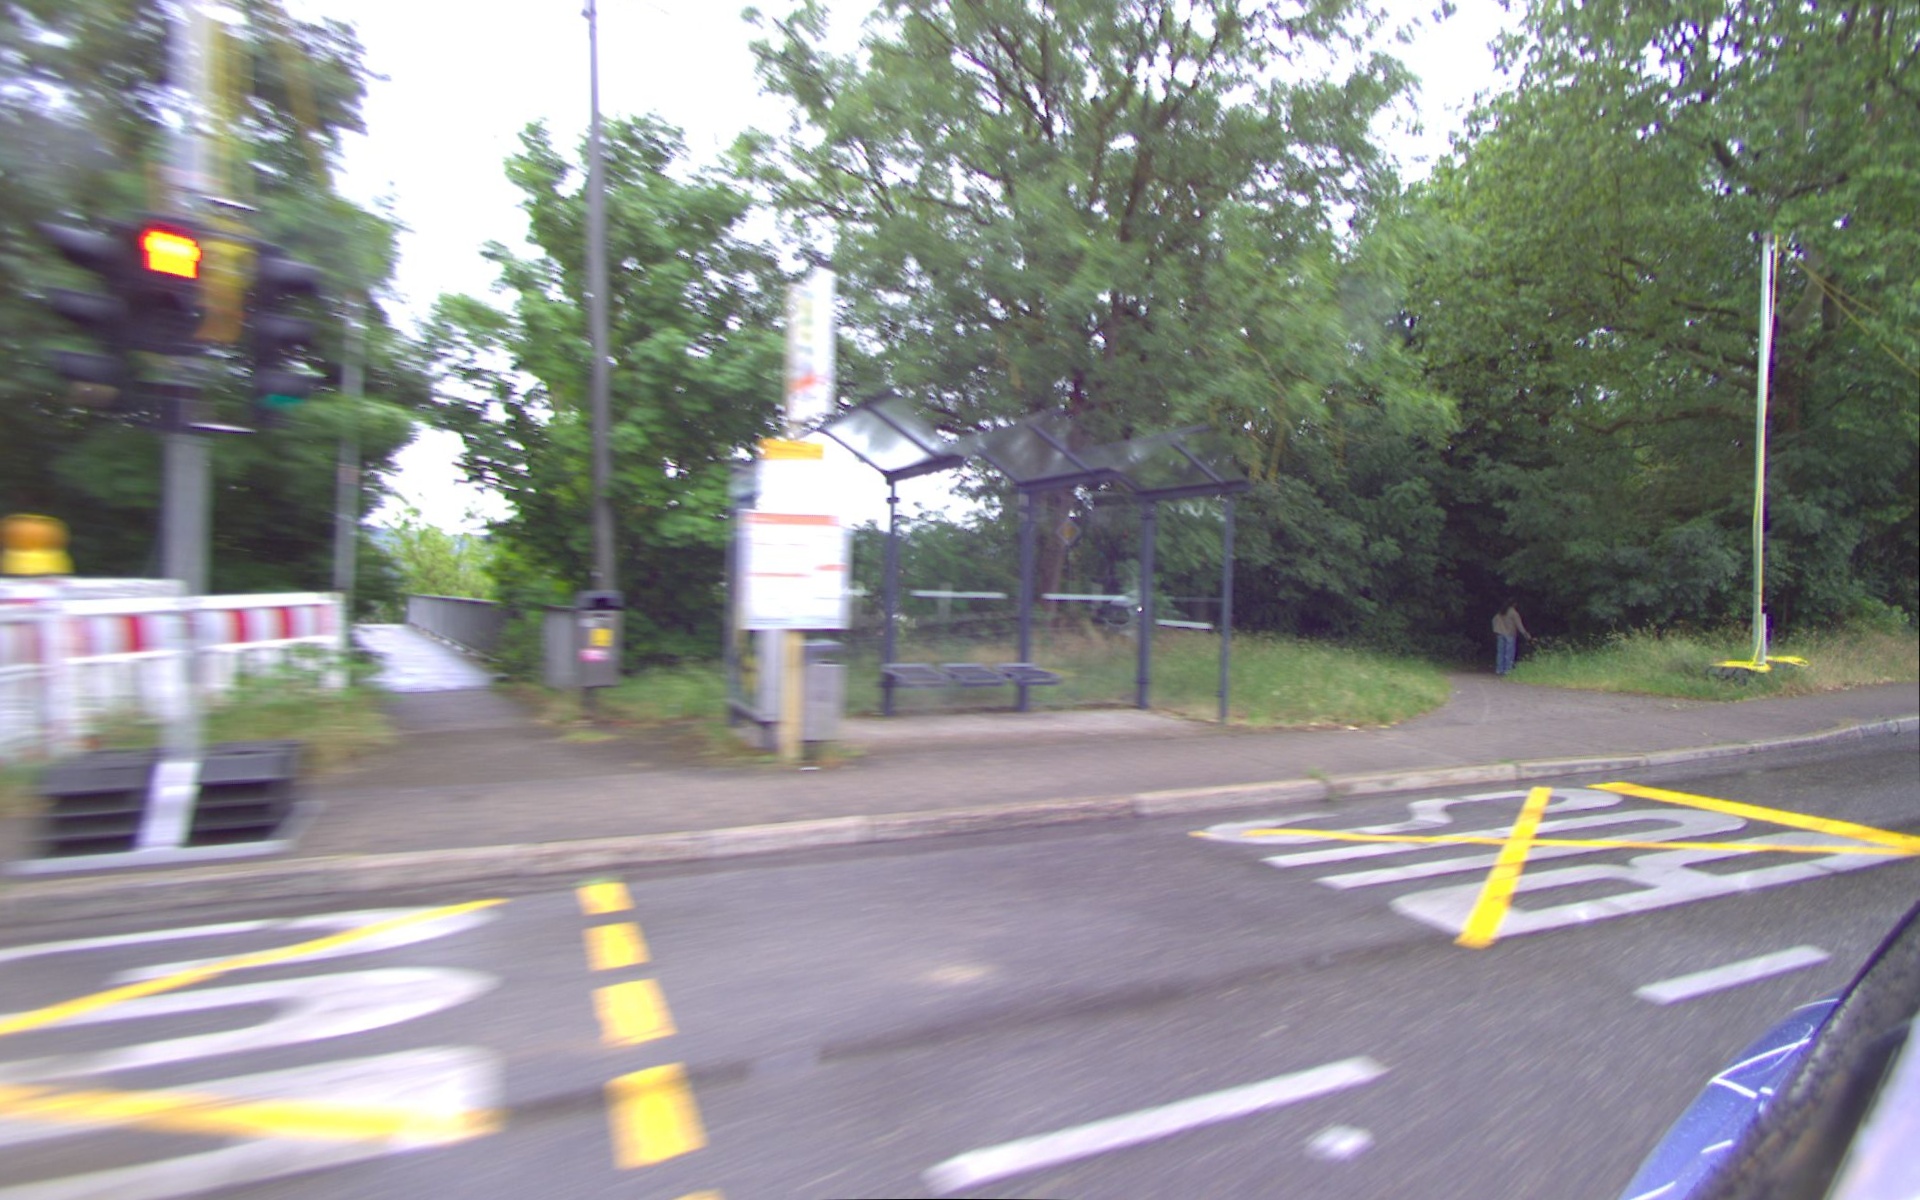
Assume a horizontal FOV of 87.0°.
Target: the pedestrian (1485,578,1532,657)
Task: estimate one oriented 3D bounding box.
[{"bbox_3d":[11.476,0.351,21.186,0.729,1.624,0.741,0,1,40],"label":"pedestrian"}]
